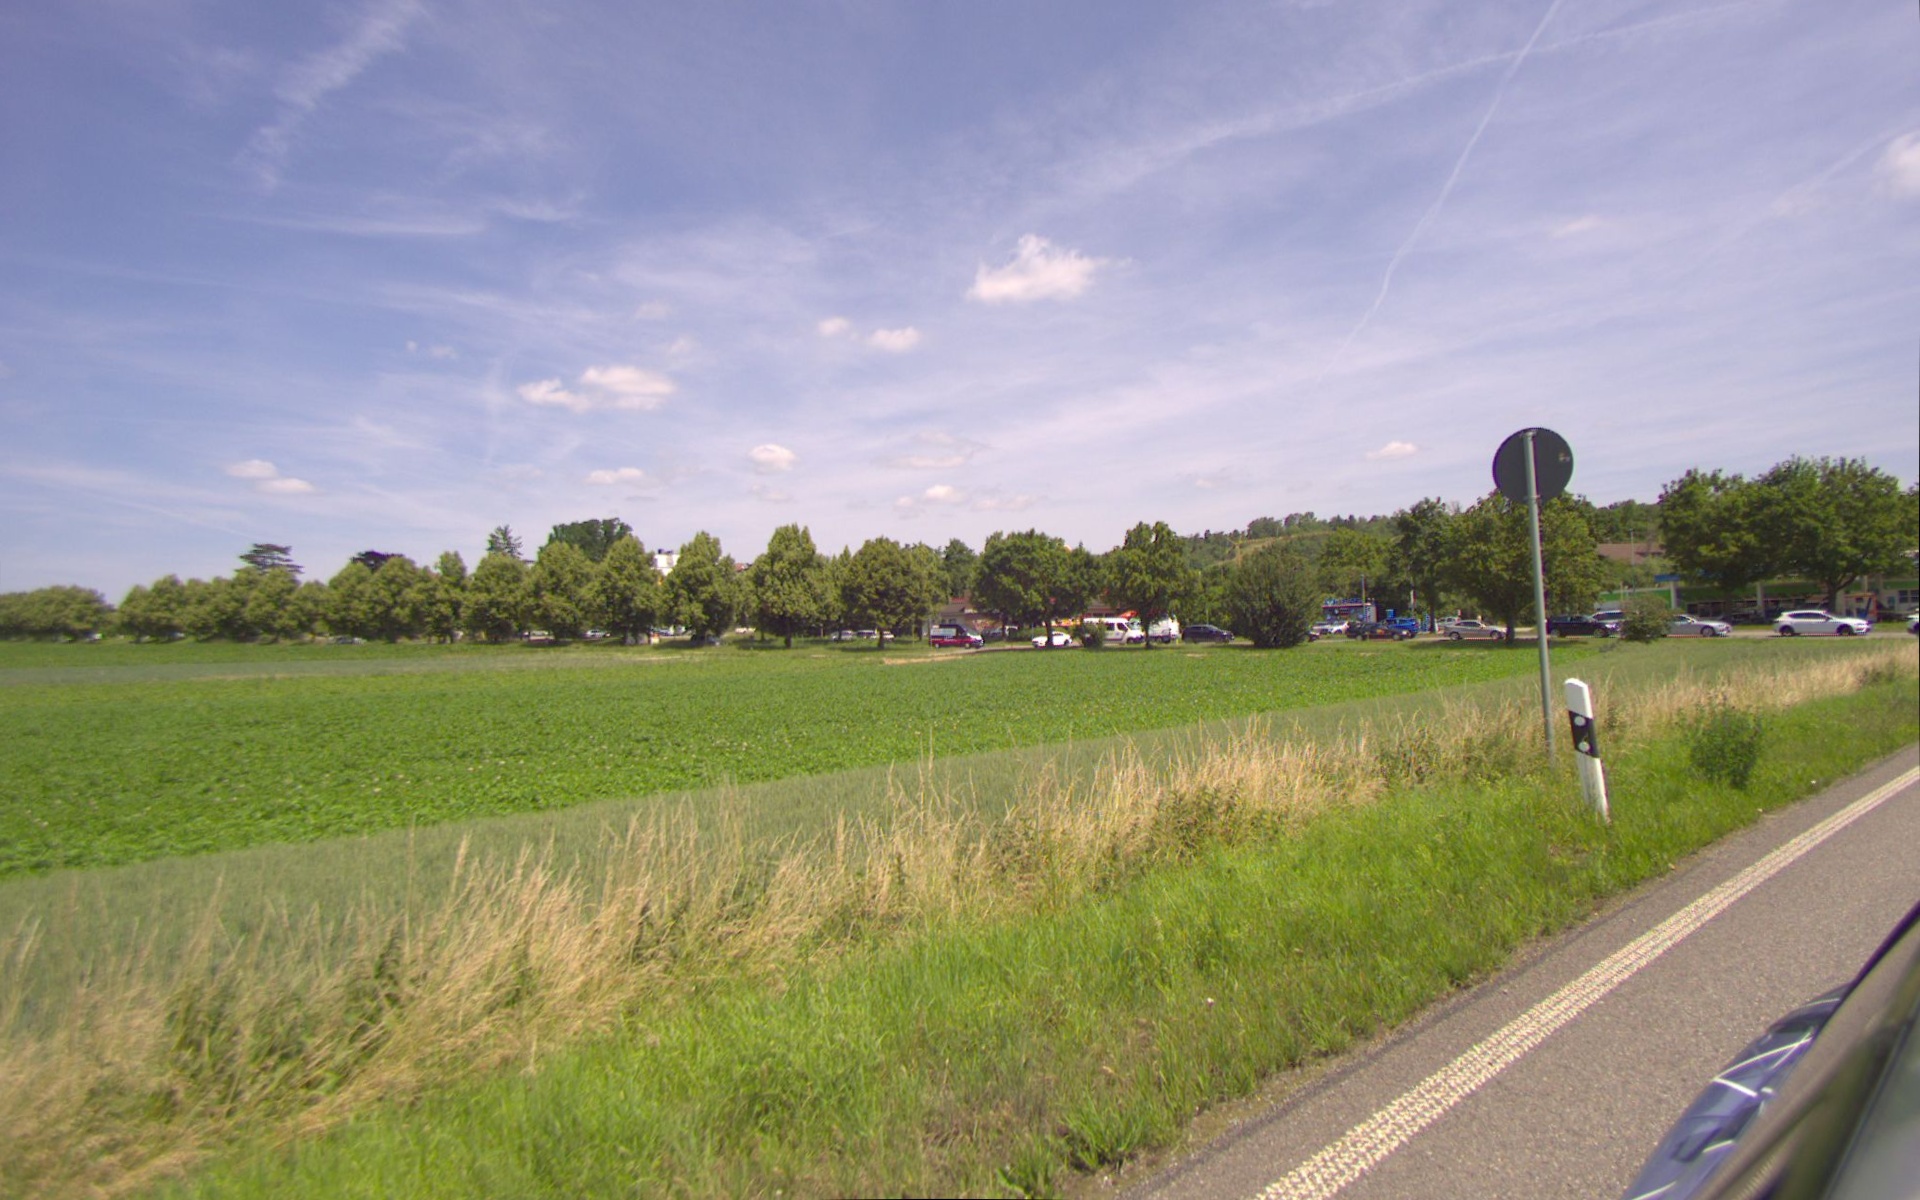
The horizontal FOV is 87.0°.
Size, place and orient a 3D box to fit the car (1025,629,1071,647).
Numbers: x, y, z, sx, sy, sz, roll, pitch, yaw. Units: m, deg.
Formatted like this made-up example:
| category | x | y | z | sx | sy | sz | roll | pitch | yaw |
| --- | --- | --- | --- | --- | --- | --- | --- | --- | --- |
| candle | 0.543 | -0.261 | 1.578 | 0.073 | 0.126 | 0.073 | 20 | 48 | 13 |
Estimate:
| category | x | y | z | sx | sy | sz | roll | pitch | yaw |
| --- | --- | --- | --- | --- | --- | --- | --- | --- | --- |
| car | 8.896 | 3.799 | 102.404 | 4.415 | 1.579 | 1.877 | -2 | -1 | -34 |

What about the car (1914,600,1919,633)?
| category | x | y | z | sx | sy | sz | roll | pitch | yaw |
| --- | --- | --- | --- | --- | --- | --- | --- | --- | --- |
| car | 49.621 | 0.718 | 48.876 | 1.957 | 1.628 | 4.648 | -3 | -1 | -21 |

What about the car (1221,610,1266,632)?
| category | x | y | z | sx | sy | sz | roll | pitch | yaw |
| --- | --- | --- | --- | --- | --- | --- | --- | --- | --- |
| car | 27.377 | 2.033 | 97.596 | 3.951 | 1.848 | 1.810 | -3 | -1 | 21 |

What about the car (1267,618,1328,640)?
| category | x | y | z | sx | sy | sz | roll | pitch | yaw |
| --- | --- | --- | --- | --- | --- | --- | --- | --- | --- |
| car | 26.490 | 2.288 | 79.520 | 4.198 | 1.529 | 1.781 | -3 | -1 | 32 |

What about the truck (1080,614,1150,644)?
| category | x | y | z | sx | sy | sz | roll | pitch | yaw |
| --- | --- | --- | --- | --- | --- | --- | --- | --- | --- |
| truck | 13.480 | 2.552 | 88.048 | 5.585 | 2.396 | 2.033 | -3 | -1 | 29 |

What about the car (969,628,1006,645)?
| category | x | y | z | sx | sy | sz | roll | pitch | yaw |
| --- | --- | --- | --- | --- | --- | --- | --- | --- | --- |
| car | 3.219 | 4.288 | 117.951 | 3.975 | 1.848 | 1.799 | -3 | -1 | 36 |

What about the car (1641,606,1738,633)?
| category | x | y | z | sx | sy | sz | roll | pitch | yaw |
| --- | --- | --- | --- | --- | --- | --- | --- | --- | --- |
| car | 45.411 | 1.239 | 63.077 | 1.769 | 1.529 | 4.555 | -2 | -1 | -39 |

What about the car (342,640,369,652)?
| category | x | y | z | sx | sy | sz | roll | pitch | yaw |
| --- | --- | --- | --- | --- | --- | --- | --- | --- | --- |
| car | -94.715 | 7.248 | 158.533 | 3.968 | 1.670 | 1.978 | -3 | -1 | 32 |

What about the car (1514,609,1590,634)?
| category | x | y | z | sx | sy | sz | roll | pitch | yaw |
| --- | --- | --- | --- | --- | --- | --- | --- | --- | --- |
| car | 43.494 | 1.596 | 74.420 | 4.505 | 1.713 | 1.840 | -2 | 0 | 41 |

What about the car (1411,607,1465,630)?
| category | x | y | z | sx | sy | sz | roll | pitch | yaw |
| --- | --- | --- | --- | --- | --- | --- | --- | --- | --- |
| car | 42.249 | 1.599 | 89.477 | 3.972 | 1.848 | 1.800 | -3 | -1 | 35 |

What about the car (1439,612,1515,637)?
| category | x | y | z | sx | sy | sz | roll | pitch | yaw |
| --- | --- | --- | --- | --- | --- | --- | --- | --- | --- |
| car | 36.662 | 1.741 | 71.828 | 4.539 | 1.529 | 1.775 | -3 | -1 | 40 |

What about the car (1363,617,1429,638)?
| category | x | y | z | sx | sy | sz | roll | pitch | yaw |
| --- | --- | --- | --- | --- | --- | --- | --- | --- | --- |
| car | 33.898 | 2.166 | 78.746 | 4.363 | 1.579 | 1.760 | -2 | -2 | 38 |

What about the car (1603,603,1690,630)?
| category | x | y | z | sx | sy | sz | roll | pitch | yaw |
| --- | --- | --- | --- | --- | --- | --- | --- | --- | --- |
| car | 46.647 | 1.138 | 68.851 | 1.835 | 1.713 | 4.518 | -2 | 0 | -41 |

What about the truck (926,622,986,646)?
| category | x | y | z | sx | sy | sz | roll | pitch | yaw |
| --- | --- | --- | --- | --- | --- | --- | --- | --- | --- |
| truck | -0.402 | 3.223 | 95.714 | 5.425 | 2.001 | 1.783 | -3 | -1 | 29 |

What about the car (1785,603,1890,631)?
| category | x | y | z | sx | sy | sz | roll | pitch | yaw |
| --- | --- | --- | --- | --- | --- | --- | --- | --- | --- |
| car | 49.315 | 0.970 | 56.942 | 1.766 | 1.437 | 4.106 | -2 | 0 | -33 |

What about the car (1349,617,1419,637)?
| category | x | y | z | sx | sy | sz | roll | pitch | yaw |
| --- | --- | --- | --- | --- | --- | --- | --- | --- | --- |
| car | 31.848 | 2.014 | 76.039 | 4.530 | 1.289 | 1.779 | -3 | -1 | 35 |

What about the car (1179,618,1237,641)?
| category | x | y | z | sx | sy | sz | roll | pitch | yaw |
| --- | --- | --- | --- | --- | --- | --- | --- | --- | --- |
| car | 20.705 | 2.464 | 84.508 | 4.261 | 1.719 | 1.976 | -3 | -1 | 35 |

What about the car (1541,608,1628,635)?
| category | x | y | z | sx | sy | sz | roll | pitch | yaw |
| --- | --- | --- | --- | --- | --- | --- | --- | --- | --- |
| car | 41.197 | 1.442 | 66.799 | 4.546 | 1.529 | 1.773 | -3 | 1 | 44 |

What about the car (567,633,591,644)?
| category | x | y | z | sx | sy | sz | roll | pitch | yaw |
| --- | --- | --- | --- | --- | --- | --- | --- | --- | --- |
| car | -62.632 | 6.280 | 166.361 | 3.975 | 1.650 | 1.721 | -3 | -1 | 36 |

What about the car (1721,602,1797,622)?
| category | x | y | z | sx | sy | sz | roll | pitch | yaw |
| --- | --- | --- | --- | --- | --- | --- | --- | --- | --- |
| car | 62.436 | 0.914 | 79.180 | 4.265 | 1.380 | 1.749 | -3 | -1 | 20 |

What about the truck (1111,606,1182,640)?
| category | x | y | z | sx | sy | sz | roll | pitch | yaw |
| --- | --- | --- | --- | --- | --- | --- | --- | --- | --- |
| truck | 16.746 | 2.114 | 90.904 | 5.902 | 2.771 | 2.048 | -3 | 0 | 35 |

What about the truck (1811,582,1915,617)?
| category | x | y | z | sx | sy | sz | roll | pitch | yaw |
| --- | --- | --- | --- | --- | --- | --- | --- | --- | --- |
| truck | 74.187 | 0.002 | 83.240 | 6.040 | 2.652 | 2.259 | -2 | -1 | 5 |
